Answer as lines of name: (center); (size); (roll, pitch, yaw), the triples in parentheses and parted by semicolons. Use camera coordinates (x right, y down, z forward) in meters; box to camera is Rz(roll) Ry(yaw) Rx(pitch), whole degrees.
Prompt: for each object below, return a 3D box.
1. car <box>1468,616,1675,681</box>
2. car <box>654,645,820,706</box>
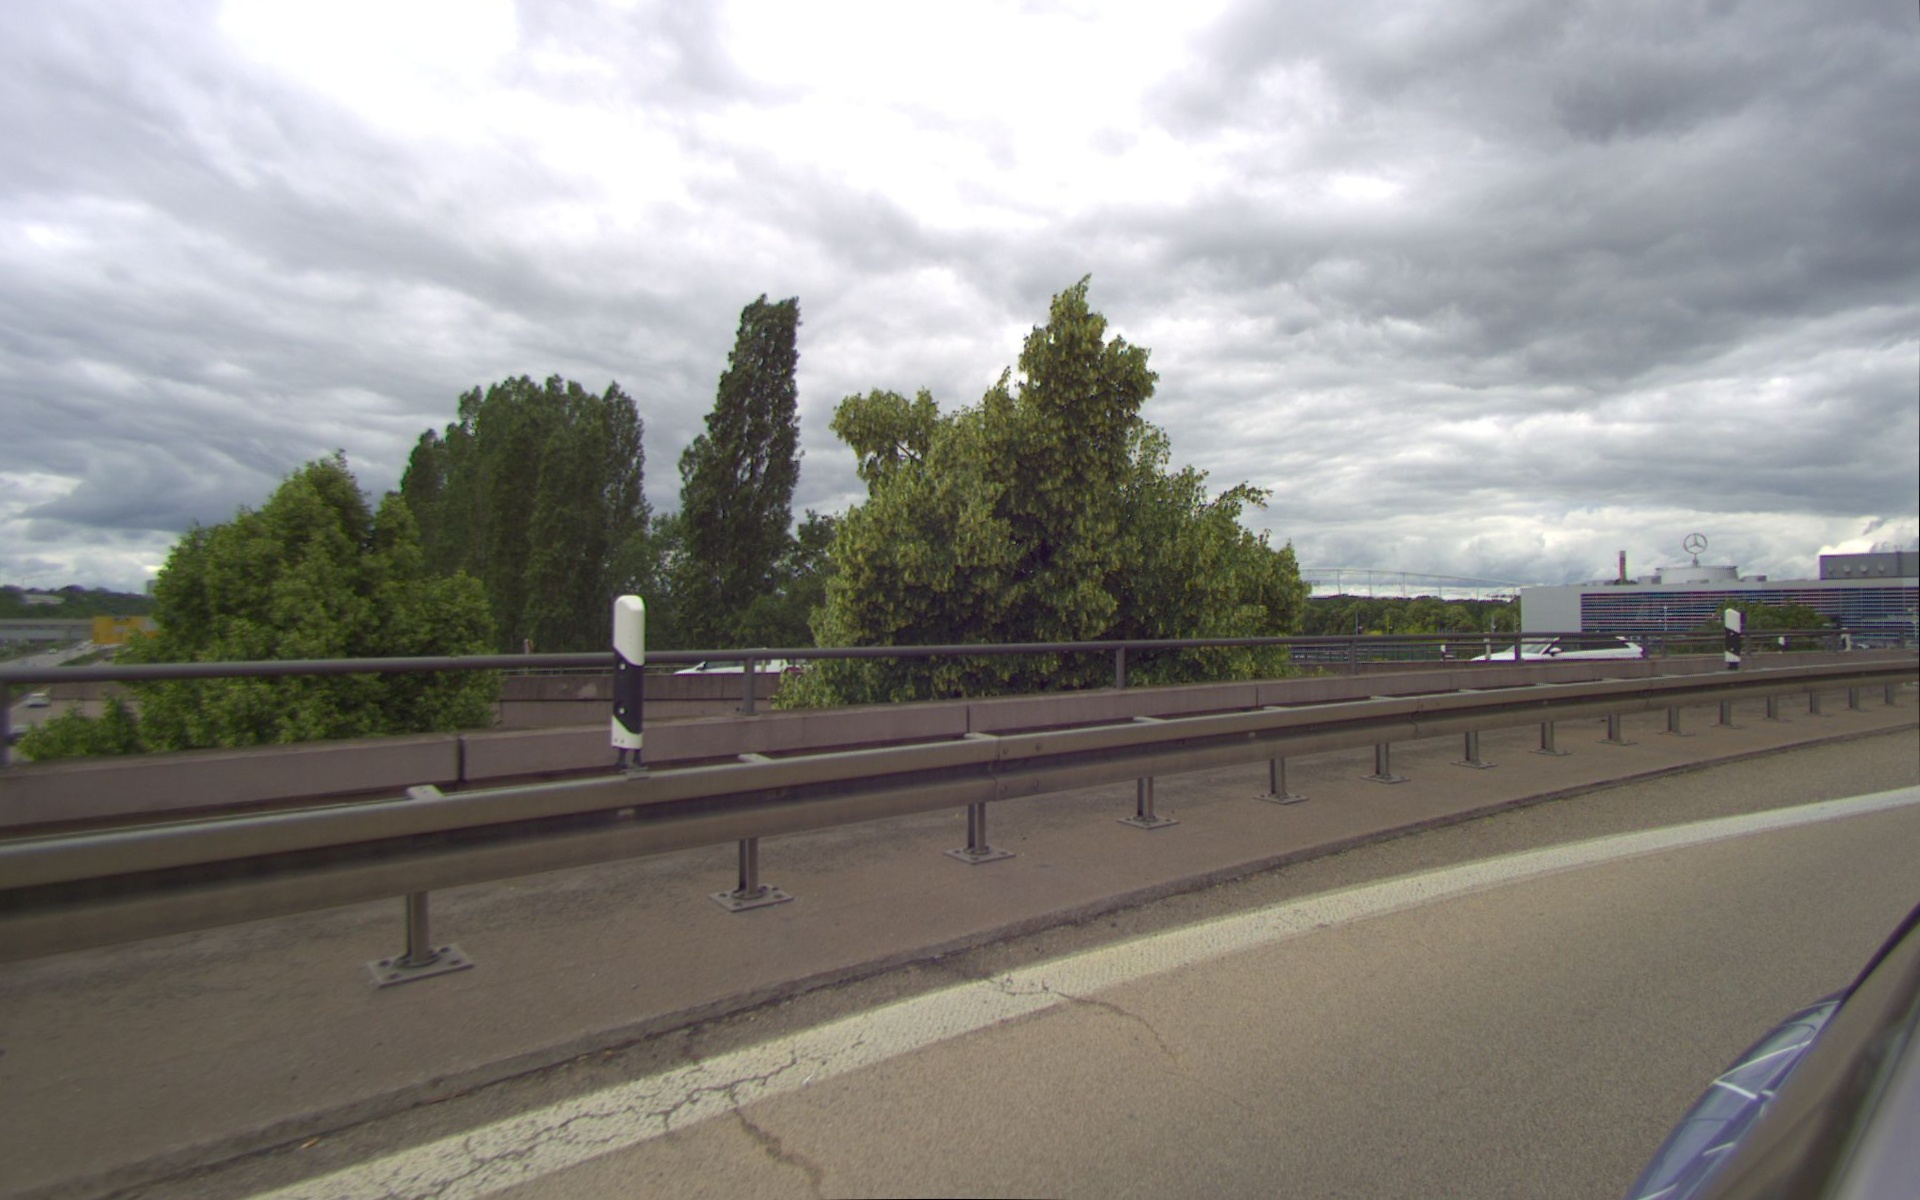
car: (14.667, 1.182, 24.421); (3.857, 1.428, 1.790); (-1, -4, -4)
car: (-5.828, 1.969, 26.535); (3.947, 1.500, 1.726); (-2, -4, 19)
